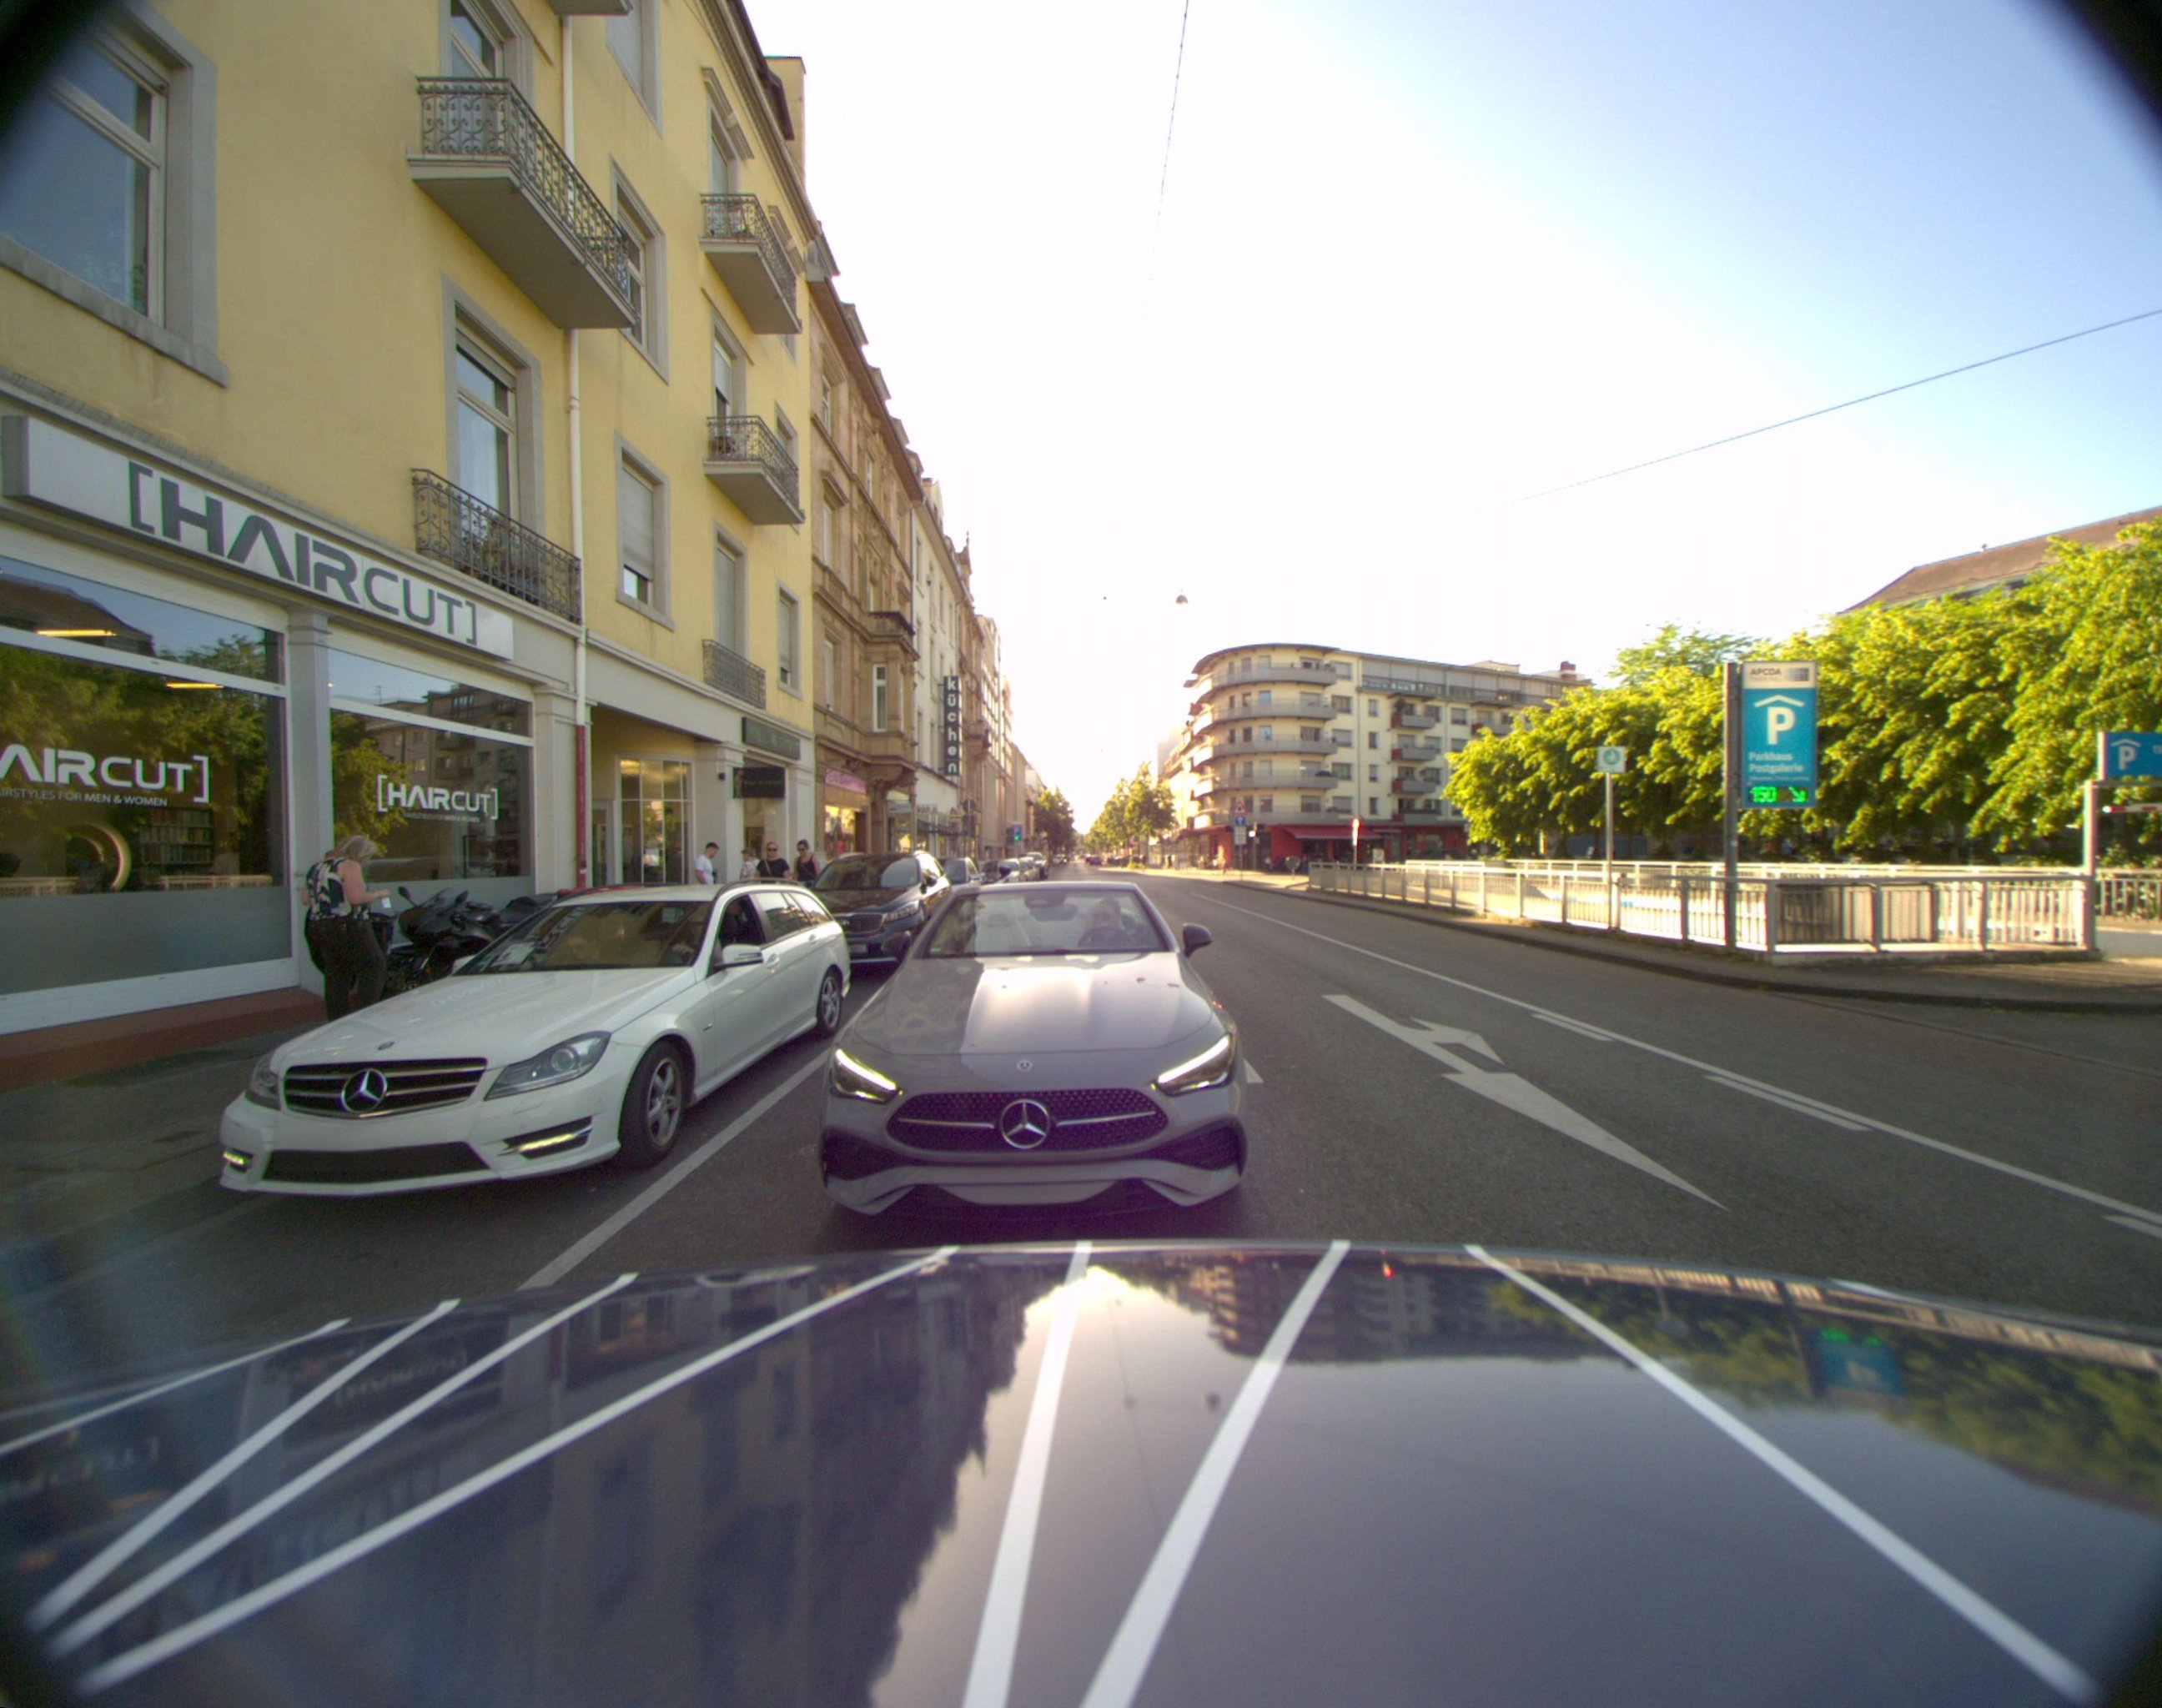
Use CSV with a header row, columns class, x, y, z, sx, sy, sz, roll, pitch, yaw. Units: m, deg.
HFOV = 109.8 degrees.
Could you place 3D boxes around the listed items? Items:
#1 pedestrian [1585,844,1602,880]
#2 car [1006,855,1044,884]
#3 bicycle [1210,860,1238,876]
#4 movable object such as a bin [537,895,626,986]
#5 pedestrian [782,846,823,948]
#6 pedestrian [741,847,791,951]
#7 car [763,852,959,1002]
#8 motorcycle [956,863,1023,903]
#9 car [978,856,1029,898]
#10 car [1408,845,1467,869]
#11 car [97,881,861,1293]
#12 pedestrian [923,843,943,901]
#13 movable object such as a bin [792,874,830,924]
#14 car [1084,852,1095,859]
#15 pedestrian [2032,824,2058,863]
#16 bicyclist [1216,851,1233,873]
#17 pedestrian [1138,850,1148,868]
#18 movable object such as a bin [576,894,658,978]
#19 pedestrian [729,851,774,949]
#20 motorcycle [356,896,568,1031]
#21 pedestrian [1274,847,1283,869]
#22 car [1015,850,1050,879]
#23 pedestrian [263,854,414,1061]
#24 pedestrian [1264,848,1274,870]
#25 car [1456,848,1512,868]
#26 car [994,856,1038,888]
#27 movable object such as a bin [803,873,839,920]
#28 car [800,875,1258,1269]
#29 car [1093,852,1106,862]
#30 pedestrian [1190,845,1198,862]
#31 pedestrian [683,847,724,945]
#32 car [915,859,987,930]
class,x,y,z,sx,sy,sz,roll,pitch,yaw
pedestrian,26.286,0.408,38.967,0.602,1.782,0.581,-3,2,-45
car,-2.997,0.805,41.102,1.737,1.409,3.802,-1,0,0
bicycle,10.655,1.040,56.599,1.868,1.205,0.715,-1,1,40
movable object such as a bin,-6.125,1.044,9.341,0.661,1.035,0.619,2,1,3
pedestrian,-4.563,0.695,12.458,0.515,1.623,0.414,-2,1,-9
pedestrian,-5.091,0.715,12.293,0.619,1.623,0.462,-2,1,-12
car,-2.977,0.857,11.310,1.760,1.726,4.571,-1,0,-3
motorcycle,-3.178,1.000,26.574,2.178,1.272,0.866,-2,1,-42
car,-3.045,0.856,30.669,1.737,1.509,4.164,-1,0,-2
car,29.320,0.238,62.554,4.432,1.901,1.951,-2,1,-24
car,-3.063,1.019,5.293,1.743,1.438,4.463,-1,0,0
pedestrian,-4.548,0.546,23.375,0.434,1.752,0.481,-2,1,1
movable object such as a bin,-6.066,1.006,17.097,0.606,1.060,0.619,2,1,0
car,1.524,0.291,143.012,1.895,1.388,4.255,-1,0,-1
pedestrian,44.810,-0.501,35.315,0.602,1.782,0.581,-2,1,-20
bicyclist,10.660,0.632,56.574,0.973,1.605,0.715,-1,1,40
pedestrian,5.496,0.458,67.249,0.774,1.606,0.696,-1,1,-3
movable object such as a bin,-6.080,1.064,9.986,0.669,1.019,0.619,2,1,3
pedestrian,-5.715,0.776,13.185,0.450,1.651,0.594,1,1,44
motorcycle,-6.196,1.031,7.780,0.551,1.085,2.009,0,0,-1
pedestrian,15.452,0.338,59.391,0.575,1.698,0.642,-1,1,3
car,-3.003,0.629,47.731,1.895,1.680,4.049,-1,0,0
pedestrian,-6.058,0.815,6.227,0.698,1.623,0.532,0,1,-2
pedestrian,14.771,0.364,59.679,0.575,1.698,0.642,-1,1,3
car,34.280,0.317,64.681,4.300,1.611,1.951,-2,1,-24
car,-3.075,0.840,36.704,1.737,1.409,3.802,-1,0,0
movable object such as a bin,-6.072,0.981,17.767,0.606,1.060,0.619,2,1,0
car,-0.201,0.957,5.309,1.848,1.440,4.373,-1,0,0
car,2.719,0.385,112.361,1.806,1.388,3.926,-1,0,0
pedestrian,10.768,-0.064,72.186,0.570,1.612,0.793,-2,1,-3
pedestrian,-6.462,0.701,13.005,0.337,1.651,0.525,1,1,33
car,-3.014,0.892,18.011,1.275,1.509,2.794,-1,0,-2
